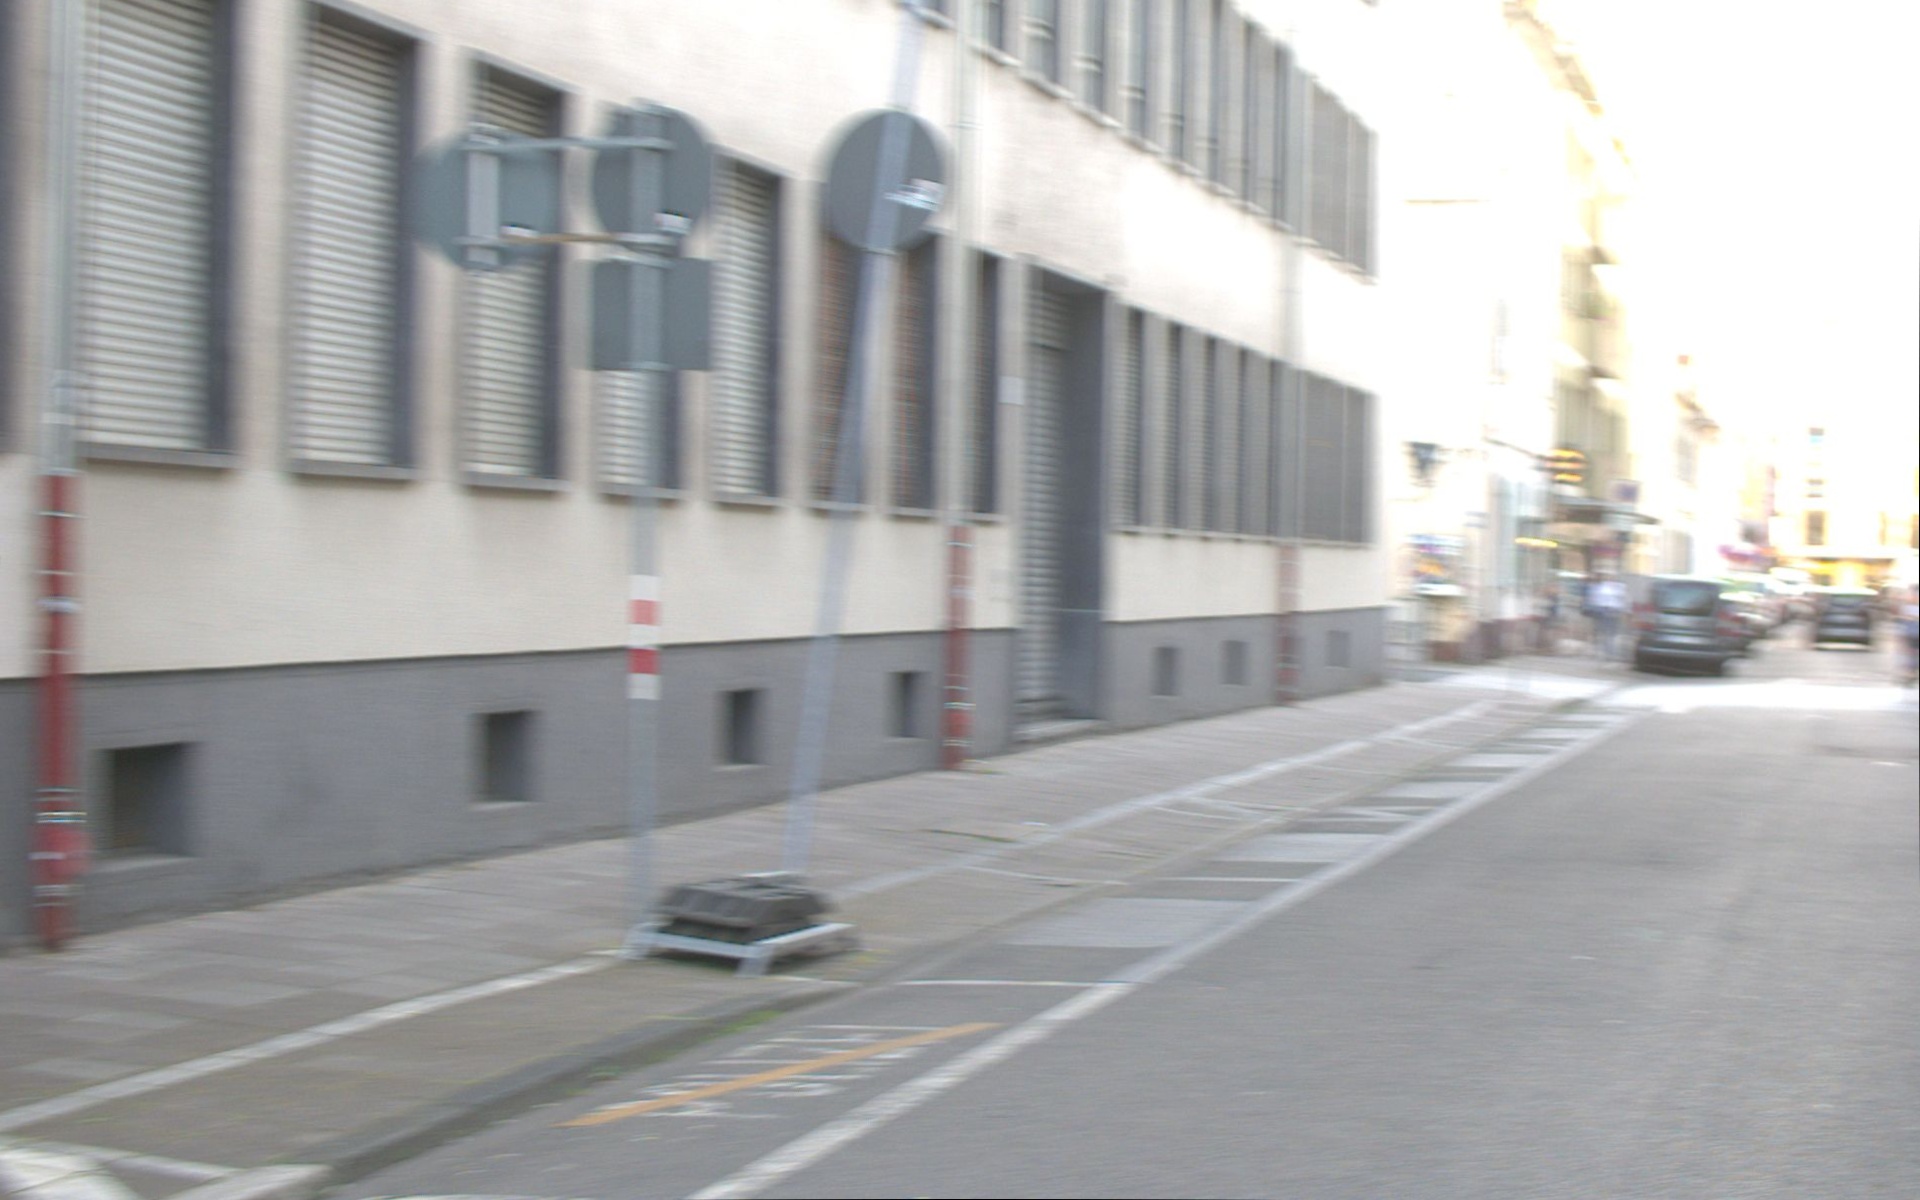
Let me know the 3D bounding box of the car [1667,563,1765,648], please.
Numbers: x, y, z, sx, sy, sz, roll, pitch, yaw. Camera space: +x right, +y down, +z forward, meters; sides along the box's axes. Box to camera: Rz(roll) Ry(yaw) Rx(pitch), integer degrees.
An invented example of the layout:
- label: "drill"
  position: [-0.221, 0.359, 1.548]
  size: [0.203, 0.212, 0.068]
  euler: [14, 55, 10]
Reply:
- label: "car"
  position: [16.782, 0.101, 76.424]
  size: [1.994, 1.809, 3.998]
  euler: [0, 0, 11]

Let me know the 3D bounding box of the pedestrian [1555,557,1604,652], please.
- label: "pedestrian"
  position: [12.570, 0.087, 69.729]
  size: [0.734, 1.905, 0.756]
  euler: [1, 0, 34]

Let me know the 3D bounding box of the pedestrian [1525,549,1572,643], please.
- label: "pedestrian"
  position: [11.559, -0.078, 67.511]
  size: [0.755, 1.823, 0.735]
  euler: [0, 0, -3]

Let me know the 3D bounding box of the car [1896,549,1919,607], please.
- label: "car"
  position: [32.111, -0.728, 113.603]
  size: [1.994, 1.880, 4.170]
  euler: [0, 0, 12]

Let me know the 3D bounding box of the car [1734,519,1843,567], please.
- label: "car"
  position: [32.137, -2.221, 133.480]
  size: [3.989, 1.764, 2.014]
  euler: [1, 0, 10]

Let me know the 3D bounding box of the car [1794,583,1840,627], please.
- label: "car"
  position: [40.882, 0.249, 163.993]
  size: [1.995, 2.007, 3.997]
  euler: [2, 0, 15]

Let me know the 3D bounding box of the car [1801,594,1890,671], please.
- label: "car"
  position: [22.639, 0.803, 87.975]
  size: [1.994, 1.897, 3.998]
  euler: [0, 0, 12]

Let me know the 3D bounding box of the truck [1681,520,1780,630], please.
- label: "truck"
  position: [25.759, -0.828, 115.316]
  size: [2.772, 3.493, 9.611]
  euler: [1, 0, 10]

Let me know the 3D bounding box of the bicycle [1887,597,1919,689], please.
- label: "bicycle"
  position: [13.776, 0.609, 49.498]
  size: [0.794, 1.273, 2.576]
  euler: [0, 0, 15]

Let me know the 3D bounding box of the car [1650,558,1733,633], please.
- label: "car"
  position: [18.420, -0.127, 86.665]
  size: [1.994, 1.809, 3.998]
  euler: [0, 0, 12]

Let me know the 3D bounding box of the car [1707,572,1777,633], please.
- label: "car"
  position: [23.666, 0.055, 104.020]
  size: [1.995, 1.809, 3.998]
  euler: [0, 0, 13]

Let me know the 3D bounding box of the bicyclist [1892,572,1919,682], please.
- label: "bicyclist"
  position: [13.854, 0.384, 49.557]
  size: [0.789, 1.577, 1.011]
  euler: [0, 0, 15]

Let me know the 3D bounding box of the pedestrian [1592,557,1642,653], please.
- label: "pedestrian"
  position: [13.167, 0.093, 68.901]
  size: [0.734, 1.905, 0.756]
  euler: [1, 0, 34]

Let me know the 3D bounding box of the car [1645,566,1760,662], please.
- label: "car"
  position: [13.854, 0.238, 64.029]
  size: [1.995, 1.722, 3.998]
  euler: [0, 0, 13]
